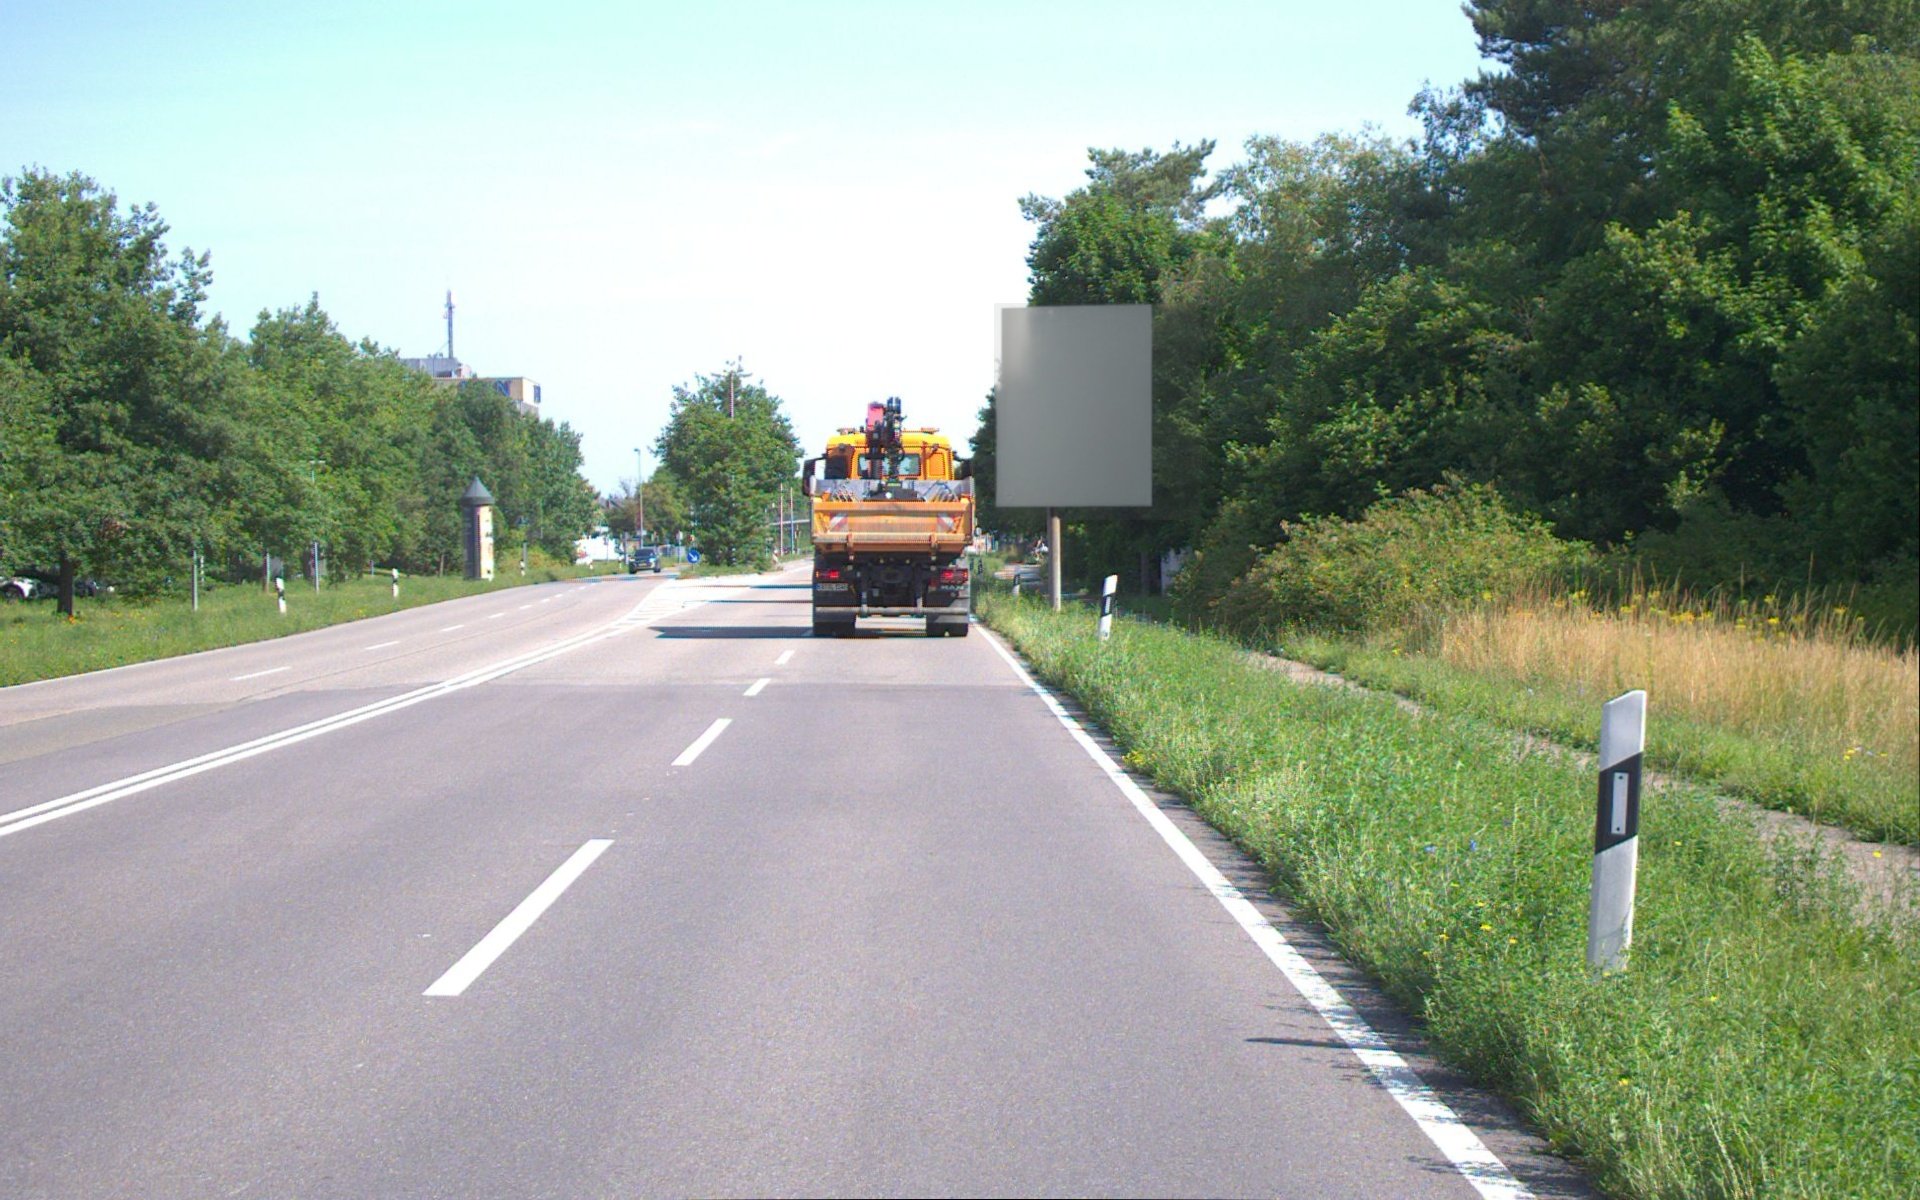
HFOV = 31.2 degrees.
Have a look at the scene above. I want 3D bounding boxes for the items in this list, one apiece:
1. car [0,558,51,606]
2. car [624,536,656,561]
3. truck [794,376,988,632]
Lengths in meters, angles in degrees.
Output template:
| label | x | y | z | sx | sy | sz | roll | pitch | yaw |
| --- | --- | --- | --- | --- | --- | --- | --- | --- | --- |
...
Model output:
| label | x | y | z | sx | sy | sz | roll | pitch | yaw |
| --- | --- | --- | --- | --- | --- | --- | --- | --- | --- |
| car | -34.880 | -0.600 | 122.168 | 4.594 | 1.644 | 2.000 | -1 | 1 | -1 |
| car | -21.194 | -3.422 | 227.946 | 1.800 | 1.566 | 4.000 | -2 | 1 | -1 |
| truck | -1.236 | -1.542 | 56.392 | 2.871 | 3.867 | 7.401 | 1 | 1 | -3 |
